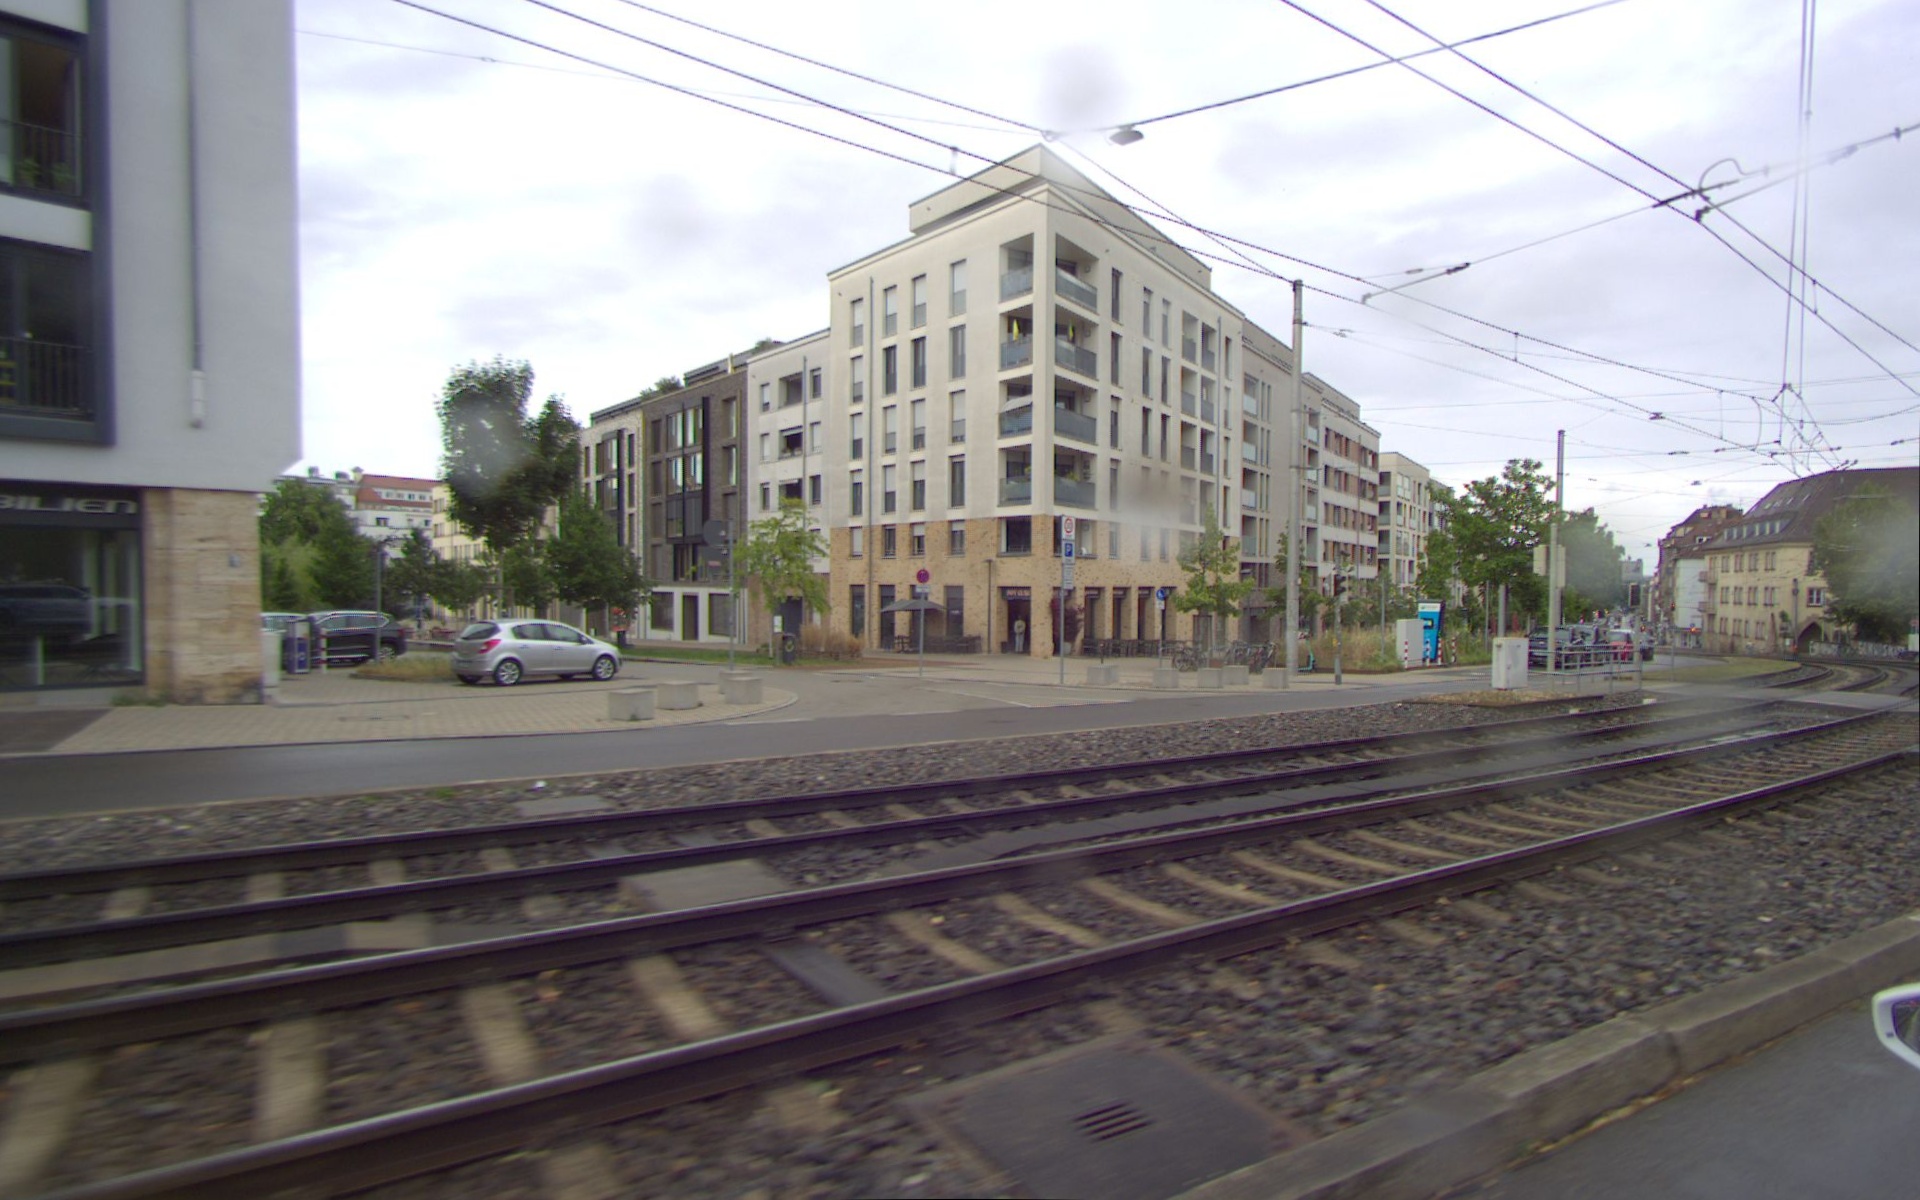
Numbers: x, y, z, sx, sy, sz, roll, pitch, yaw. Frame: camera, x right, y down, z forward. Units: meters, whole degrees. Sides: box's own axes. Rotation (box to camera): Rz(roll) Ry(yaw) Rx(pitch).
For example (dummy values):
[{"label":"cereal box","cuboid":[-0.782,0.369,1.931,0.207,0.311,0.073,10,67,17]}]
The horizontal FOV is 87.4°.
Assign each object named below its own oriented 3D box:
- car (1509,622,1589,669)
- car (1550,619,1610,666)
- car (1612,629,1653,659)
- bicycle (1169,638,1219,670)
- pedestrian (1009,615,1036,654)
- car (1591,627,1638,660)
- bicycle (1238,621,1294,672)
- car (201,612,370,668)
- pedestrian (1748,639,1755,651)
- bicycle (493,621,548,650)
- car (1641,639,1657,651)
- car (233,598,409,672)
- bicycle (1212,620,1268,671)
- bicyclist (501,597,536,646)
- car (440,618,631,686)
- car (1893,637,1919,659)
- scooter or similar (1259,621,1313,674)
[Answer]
[{"label":"car","cuboid":[23.306,1.792,39.685,1.970,1.626,4.195,4,1,40]},{"label":"car","cuboid":[27.031,1.837,43.719,1.562,1.884,4.313,3,0,40]},{"label":"car","cuboid":[39.756,2.604,59.360,1.710,1.666,4.515,1,-1,37]},{"label":"bicycle","cuboid":[8.157,1.871,35.019,2.212,1.061,0.471,2,-2,-40]},{"label":"pedestrian","cuboid":[2.703,1.498,43.536,0.891,1.673,0.837,1,-2,-23]},{"label":"car","cuboid":[33.374,2.200,51.208,1.454,1.551,2.914,3,0,44]},{"label":"bicycle","cuboid":[9.984,1.514,32.763,2.345,1.617,0.669,2,-1,-44]},{"label":"car","cuboid":[-21.038,1.222,31.457,1.909,1.639,3.986,0,-2,36]},{"label":"pedestrian","cuboid":[89.097,5.090,113.082,0.496,1.333,0.511,1,-1,24]},{"label":"bicycle","cuboid":[-16.568,1.325,37.871,1.973,1.042,0.735,0,-1,21]},{"label":"car","cuboid":[111.047,7.242,161.897,1.967,1.795,3.988,1,-2,34]},{"label":"car","cuboid":[-18.865,1.026,29.806,1.909,2.040,3.986,0,-1,36]},{"label":"bicycle","cuboid":[9.351,1.515,33.460,2.345,1.617,0.669,2,-1,-44]},{"label":"bicyclist","cuboid":[-16.697,0.809,37.973,0.773,1.828,0.901,0,-1,20]},{"label":"car","cuboid":[-9.842,1.182,23.574,1.574,1.439,3.906,0,-1,33]},{"label":"car","cuboid":[68.846,3.421,72.112,1.640,1.544,4.105,-1,-2,26]},{"label":"scooter or similar","cuboid":[10.478,1.511,32.201,2.345,1.617,0.594,2,-1,-44]}]
